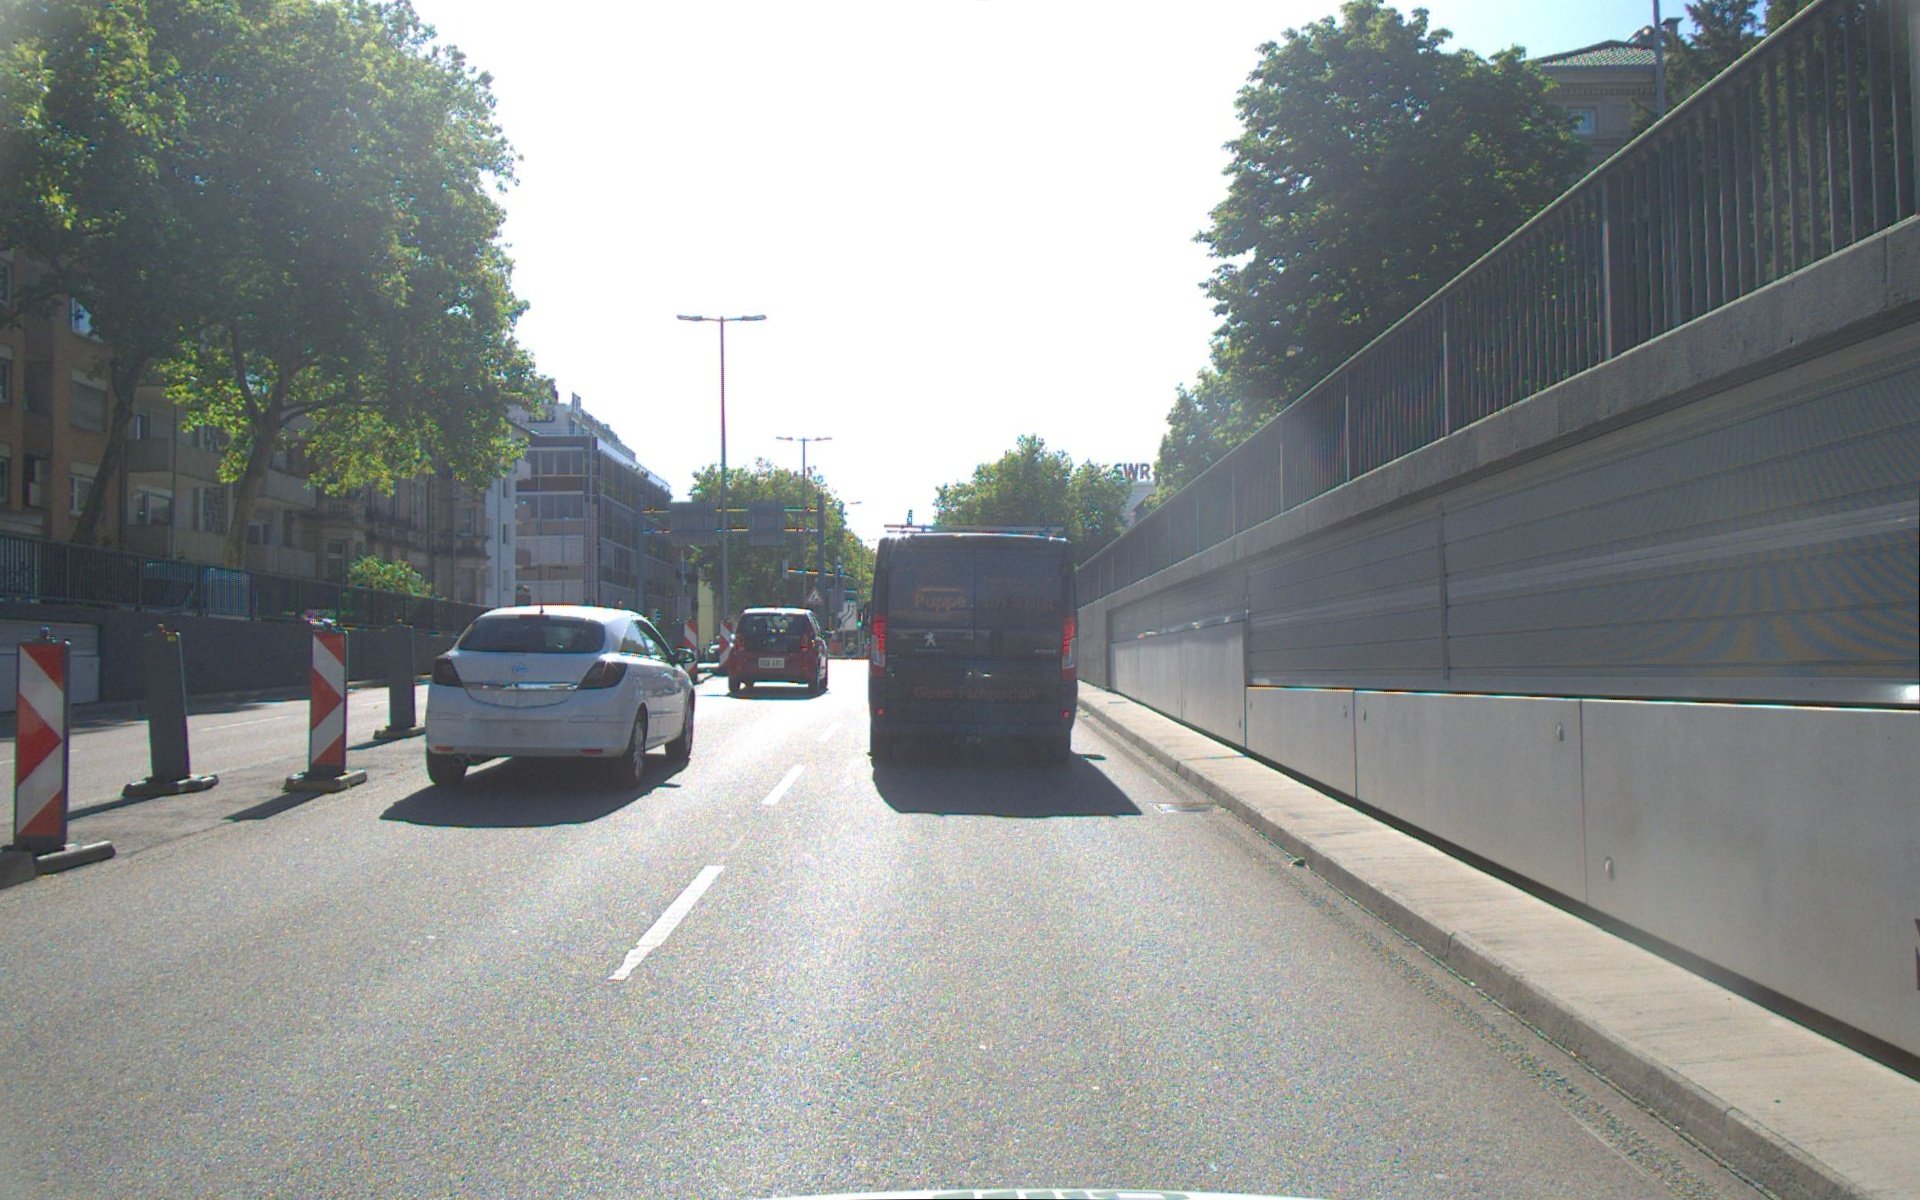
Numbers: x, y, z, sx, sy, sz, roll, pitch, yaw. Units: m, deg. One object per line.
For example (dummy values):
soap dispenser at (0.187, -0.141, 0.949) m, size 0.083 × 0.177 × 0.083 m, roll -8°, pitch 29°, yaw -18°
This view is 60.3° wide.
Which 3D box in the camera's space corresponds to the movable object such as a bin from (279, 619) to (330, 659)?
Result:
movable object such as a bin at (-23.543, 1.410, 59.413) m, size 1.253 × 1.427 × 1.301 m, roll 1°, pitch -2°, yaw -1°

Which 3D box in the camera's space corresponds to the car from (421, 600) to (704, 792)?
car at (-3.307, 0.751, 14.459) m, size 1.586 × 1.428 × 3.851 m, roll 1°, pitch -1°, yaw -1°

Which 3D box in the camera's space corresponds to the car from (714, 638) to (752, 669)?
car at (-11.922, 2.814, 87.155) m, size 1.508 × 1.490 × 3.716 m, roll -3°, pitch -1°, yaw -1°

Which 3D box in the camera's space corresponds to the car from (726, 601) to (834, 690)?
car at (-3.228, 0.807, 30.150) m, size 1.655 × 1.509 × 3.317 m, roll 1°, pitch -1°, yaw -1°

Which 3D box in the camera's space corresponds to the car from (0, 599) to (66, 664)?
car at (-22.015, 0.697, 36.841) m, size 1.953 × 1.413 × 4.171 m, roll 1°, pitch -2°, yaw -1°

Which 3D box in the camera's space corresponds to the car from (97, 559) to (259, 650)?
car at (-22.107, 0.206, 47.022) m, size 1.953 × 2.401 × 5.418 m, roll 1°, pitch -2°, yaw 0°

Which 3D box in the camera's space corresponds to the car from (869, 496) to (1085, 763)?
car at (0.134, 0.297, 17.208) m, size 1.989 × 2.445 × 3.972 m, roll 0°, pitch -1°, yaw -1°
